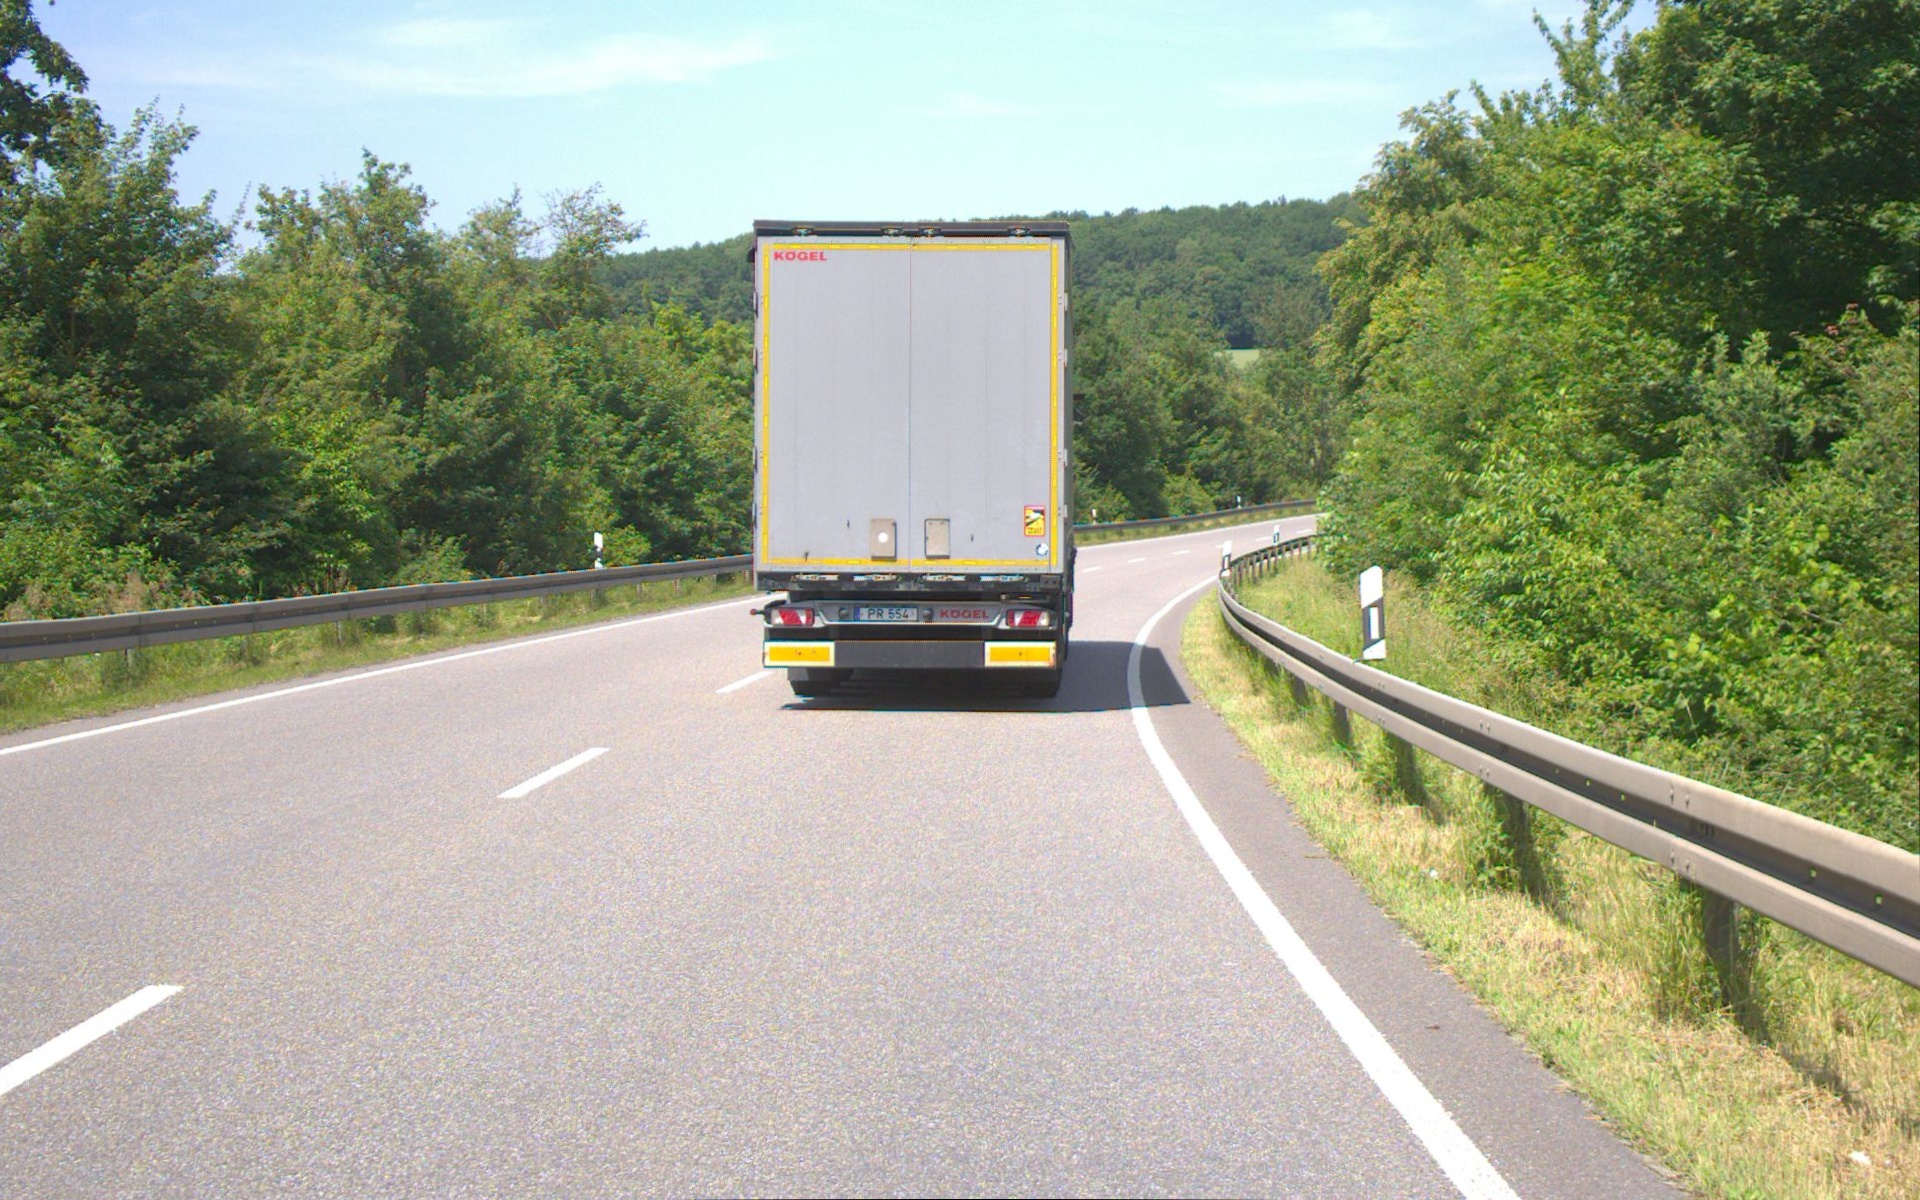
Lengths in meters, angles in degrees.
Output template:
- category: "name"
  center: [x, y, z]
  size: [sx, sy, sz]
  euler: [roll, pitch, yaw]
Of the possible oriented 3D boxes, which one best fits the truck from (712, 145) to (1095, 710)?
- category: "truck"
  center: [-0.231, -1.519, 33.531]
  size: [2.818, 4.517, 11.767]
  euler: [1, 1, 3]
